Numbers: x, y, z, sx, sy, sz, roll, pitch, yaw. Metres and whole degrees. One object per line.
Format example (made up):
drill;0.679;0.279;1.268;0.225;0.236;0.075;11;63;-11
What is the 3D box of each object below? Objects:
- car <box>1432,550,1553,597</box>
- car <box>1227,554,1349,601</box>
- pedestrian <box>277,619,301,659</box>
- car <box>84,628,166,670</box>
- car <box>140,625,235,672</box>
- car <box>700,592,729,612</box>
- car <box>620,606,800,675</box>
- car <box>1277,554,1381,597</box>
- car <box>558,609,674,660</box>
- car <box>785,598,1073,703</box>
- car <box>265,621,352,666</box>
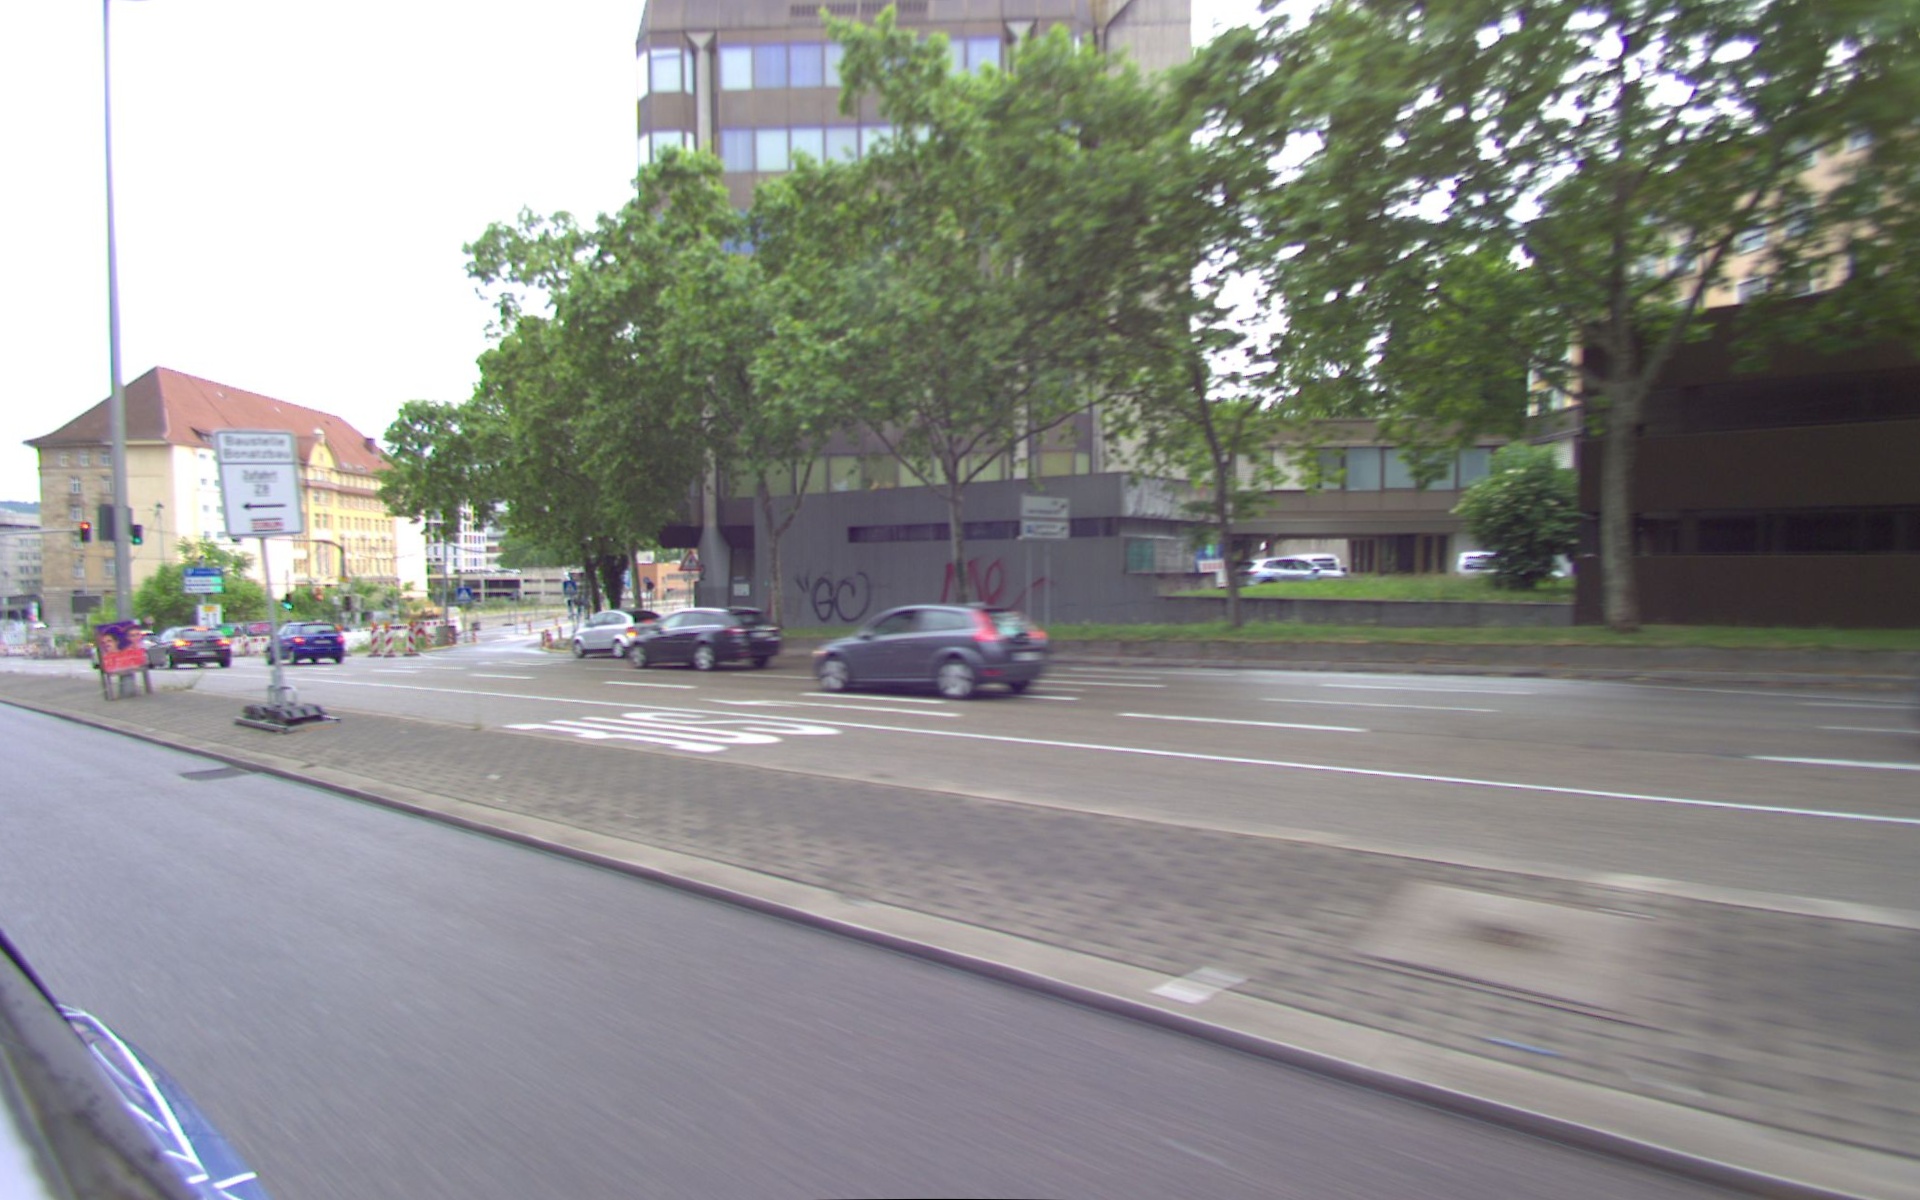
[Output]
car;20.995;-1.006;39.934;3.991;1.730;1.976;-1;0;36
car;12.650;-0.861;39.153;3.936;1.730;2.004;-1;0;-9
pedestrian;-34.444;2.001;51.973;0.656;2.029;0.808;-1;0;9
car;-33.131;1.913;40.122;3.860;1.497;1.776;-1;0;39
car;-26.730;1.645;34.990;3.860;1.497;1.776;-2;-1;39
car;-25.672;0.162;105.908;1.972;2.029;3.999;-1;0;0
car;-6.134;0.952;24.585;4.502;1.511;1.914;-2;-1;39
car;15.884;-1.069;43.549;3.931;1.730;2.006;-1;0;-26
car;-11.055;1.114;32.444;3.760;1.497;1.777;-2;-1;39
car;-0.599;0.751;16.299;4.502;1.447;1.914;-2;-1;39
car;-23.482;1.548;36.445;3.436;1.497;1.775;-3;-1;42
